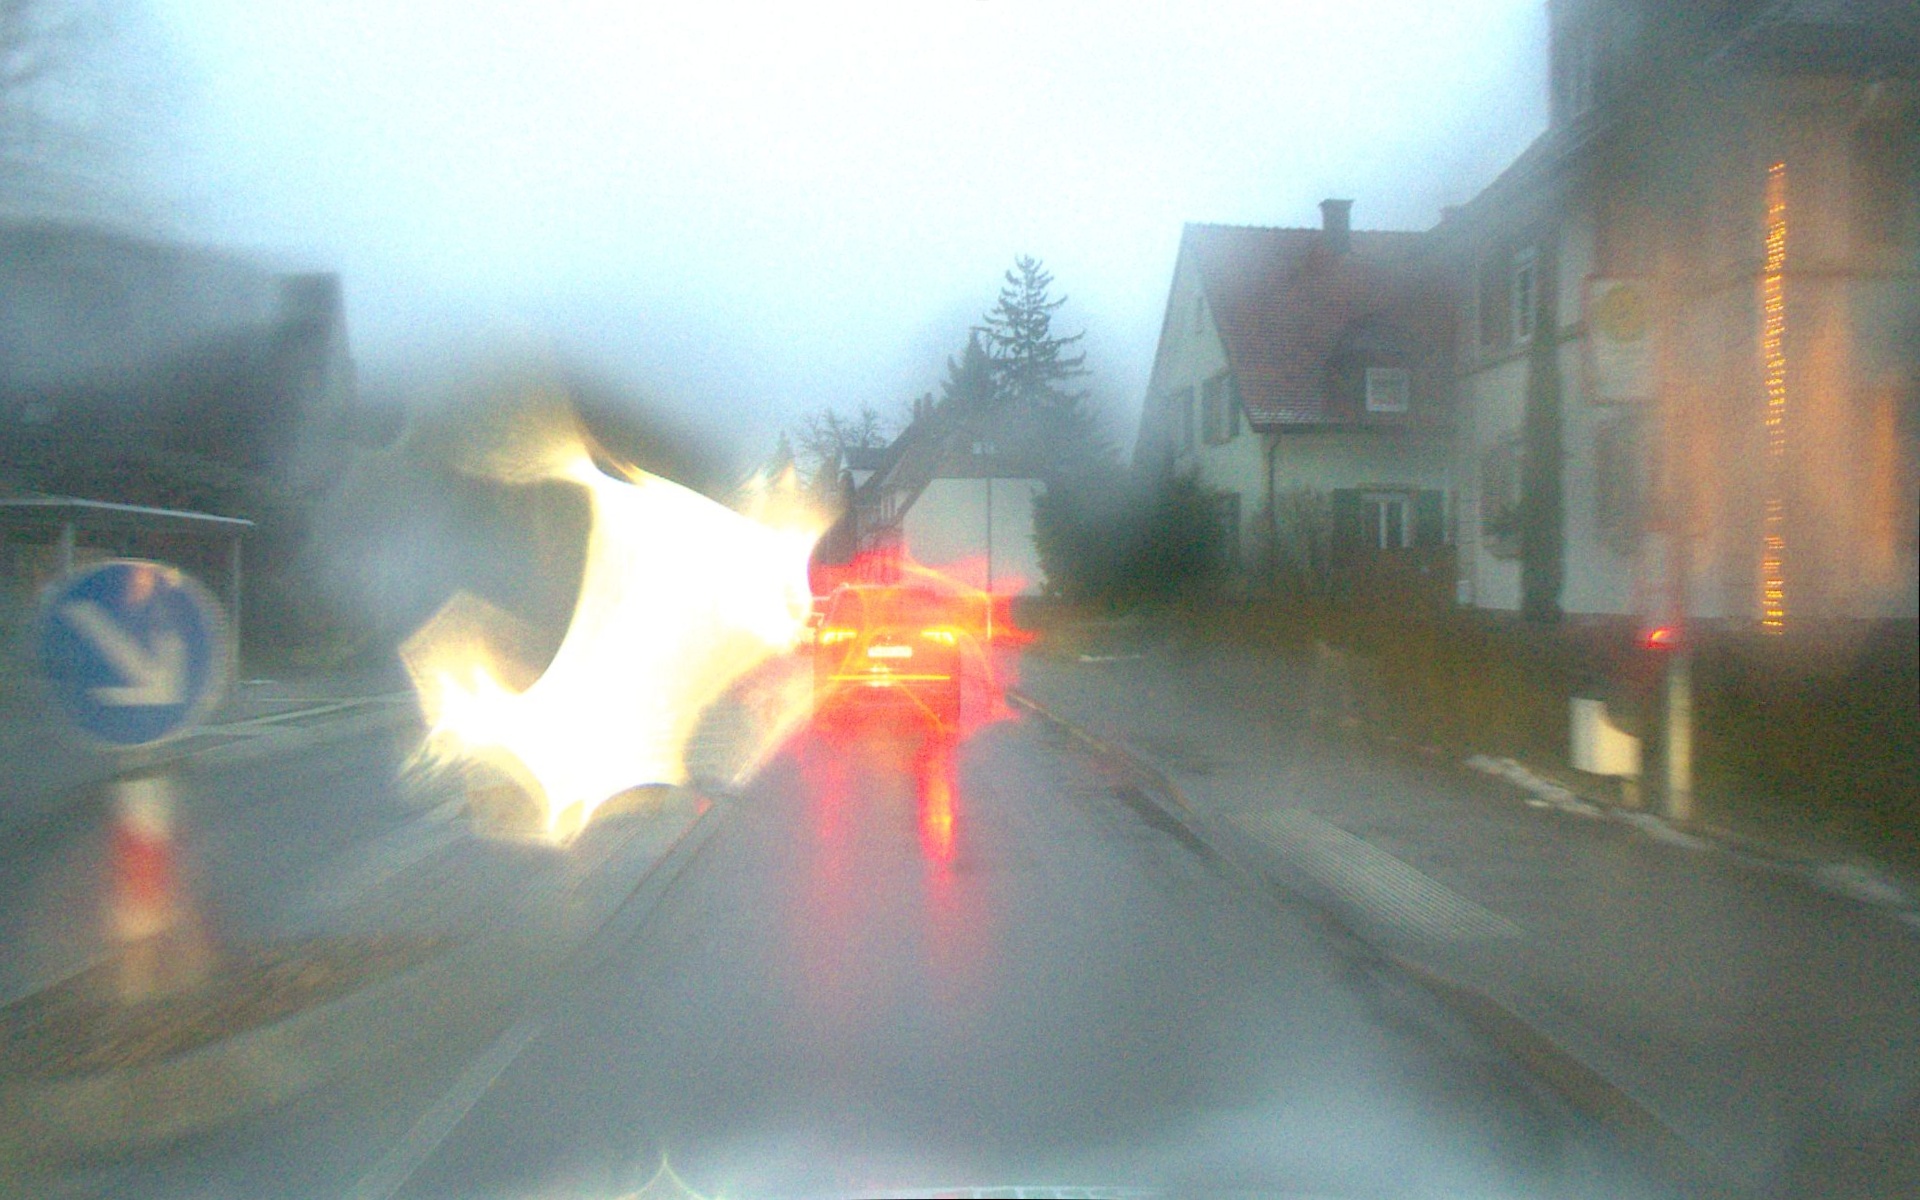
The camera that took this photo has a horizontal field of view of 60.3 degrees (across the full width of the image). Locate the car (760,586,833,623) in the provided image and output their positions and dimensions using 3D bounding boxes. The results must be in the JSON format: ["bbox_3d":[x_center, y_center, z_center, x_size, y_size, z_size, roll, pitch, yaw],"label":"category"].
[{"bbox_3d":[-9.579,0.247,96.971,4.167,2.049,1.807,-1,0,-8],"label":"car"}]

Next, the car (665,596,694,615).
[{"bbox_3d":[-20.256,0.390,119.455,1.811,1.355,3.924,-1,0,-13],"label":"car"}]

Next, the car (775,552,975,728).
[{"bbox_3d":[-1.145,0.468,21.386,2.264,1.972,5.013,-1,0,-4],"label":"car"}]

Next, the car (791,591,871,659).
[{"bbox_3d":[-3.423,0.614,43.441,1.823,1.676,3.993,0,1,-8],"label":"car"}]

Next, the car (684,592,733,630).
[{"bbox_3d":[-13.731,0.607,89.973,2.270,1.972,5.001,-1,0,-13],"label":"car"}]

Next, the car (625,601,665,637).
[{"bbox_3d":[-15.035,0.894,79.076,1.790,1.581,3.990,-2,0,-10],"label":"car"}]

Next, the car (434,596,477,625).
[{"bbox_3d":[-25.880,0.530,84.790,1.753,1.417,3.972,2,-1,-22],"label":"car"}]
